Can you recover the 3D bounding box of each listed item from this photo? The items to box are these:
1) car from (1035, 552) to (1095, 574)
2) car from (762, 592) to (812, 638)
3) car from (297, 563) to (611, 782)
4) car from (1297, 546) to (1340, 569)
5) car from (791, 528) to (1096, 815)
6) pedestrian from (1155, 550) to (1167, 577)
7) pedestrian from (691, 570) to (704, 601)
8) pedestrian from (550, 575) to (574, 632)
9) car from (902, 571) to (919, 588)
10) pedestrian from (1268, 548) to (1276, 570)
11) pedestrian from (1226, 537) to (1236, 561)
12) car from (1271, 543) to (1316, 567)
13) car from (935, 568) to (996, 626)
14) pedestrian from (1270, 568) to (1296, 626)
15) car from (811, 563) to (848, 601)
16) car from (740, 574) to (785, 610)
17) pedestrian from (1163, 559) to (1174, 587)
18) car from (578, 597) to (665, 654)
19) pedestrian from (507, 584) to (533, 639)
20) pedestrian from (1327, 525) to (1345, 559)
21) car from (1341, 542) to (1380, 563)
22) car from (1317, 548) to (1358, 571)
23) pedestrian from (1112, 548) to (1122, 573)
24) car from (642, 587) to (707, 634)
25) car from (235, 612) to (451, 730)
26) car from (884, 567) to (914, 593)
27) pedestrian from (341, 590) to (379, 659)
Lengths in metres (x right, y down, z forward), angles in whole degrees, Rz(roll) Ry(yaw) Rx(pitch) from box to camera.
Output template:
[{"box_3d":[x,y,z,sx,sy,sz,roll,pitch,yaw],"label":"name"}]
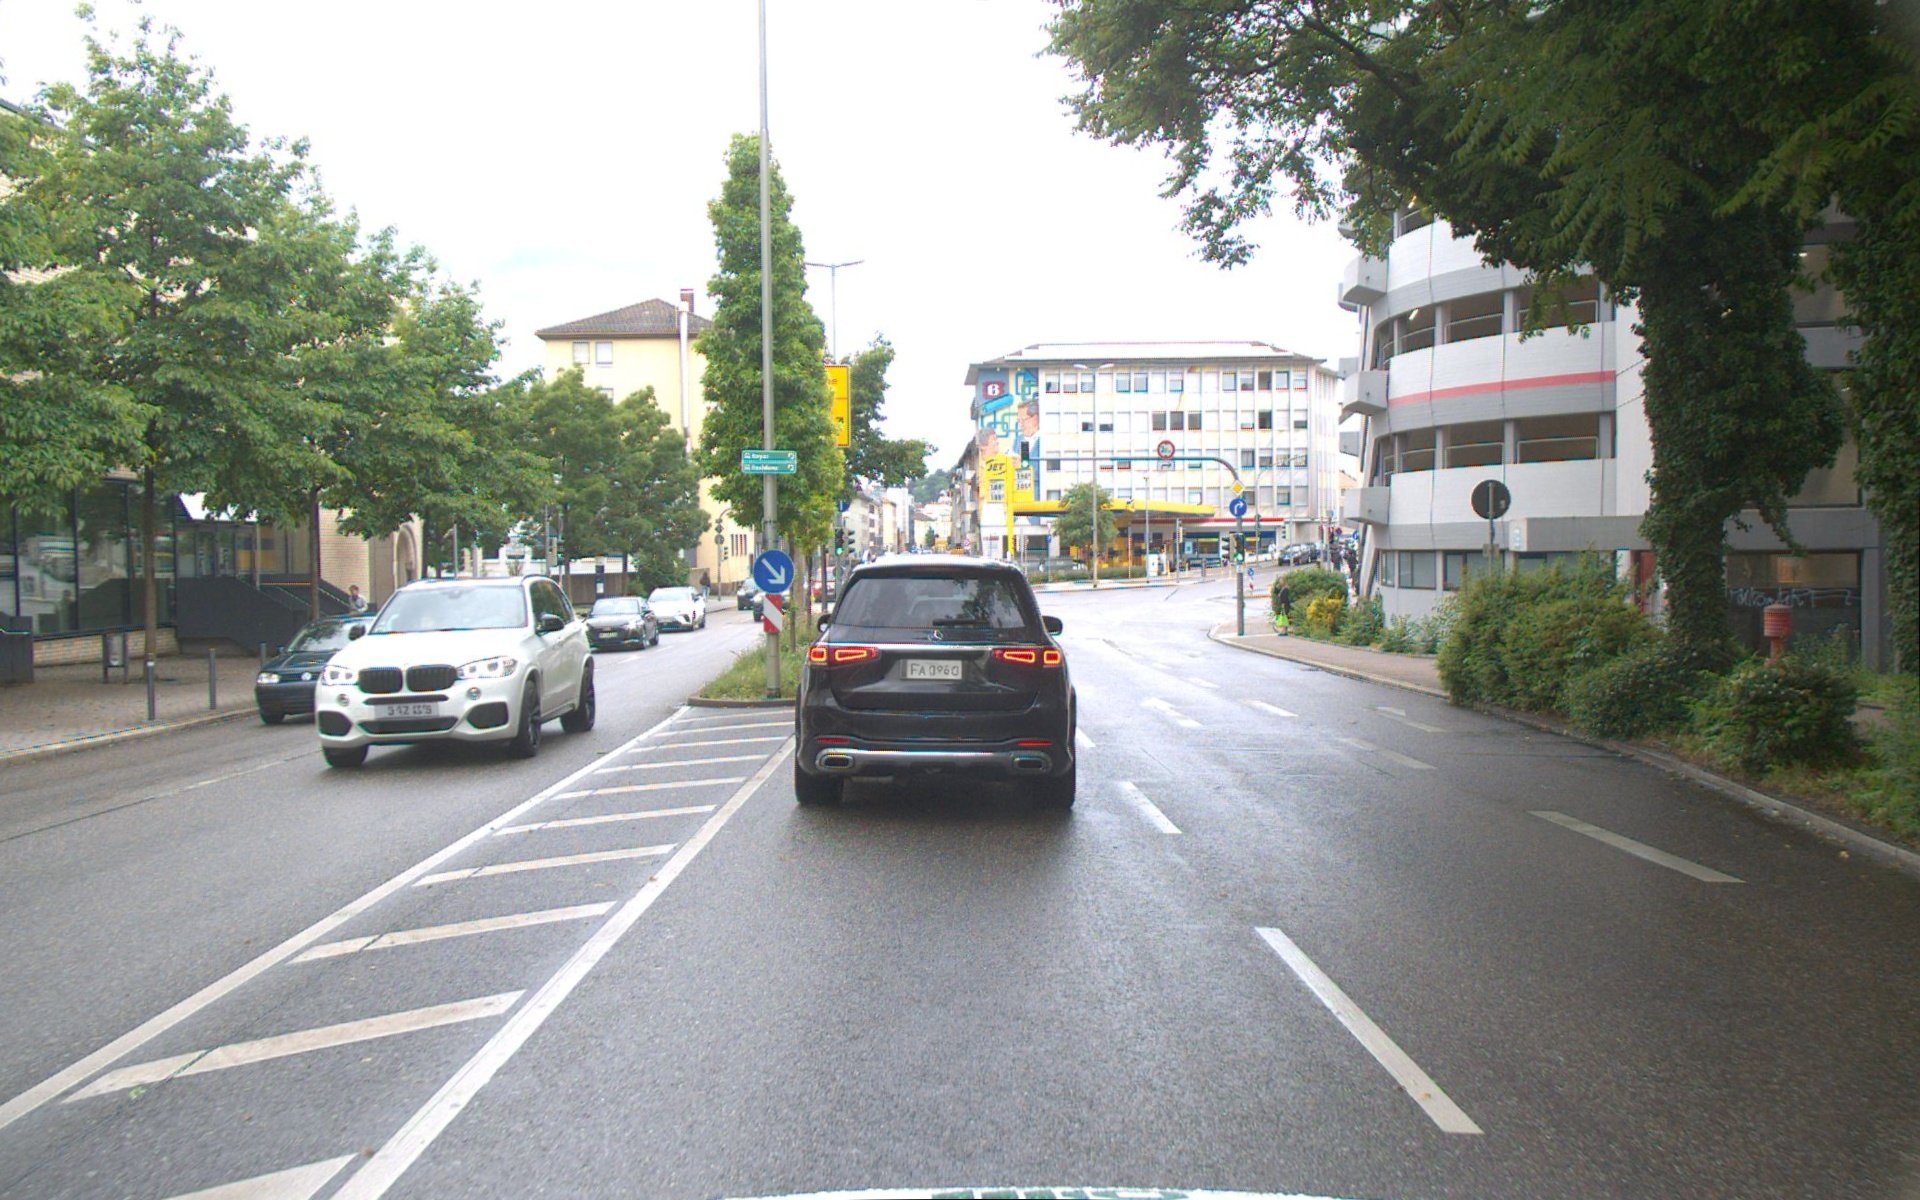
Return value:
[{"box_3d":[7.176,-2.524,113.450,1.724,1.400,3.935,-2,1,-44],"label":"car"},{"box_3d":[-6.807,0.583,65.504,1.698,1.654,4.229,-3,1,-3],"label":"car"},{"box_3d":[-4.967,0.630,16.954,1.853,1.843,4.573,-3,0,-2],"label":"car"},{"box_3d":[27.754,-3.298,128.059,1.958,1.735,3.990,-1,1,33],"label":"car"},{"box_3d":[-0.132,0.479,12.778,1.953,1.832,3.999,1,0,-1],"label":"car"},{"box_3d":[13.148,-2.361,108.148,0.515,1.757,0.688,0,1,26],"label":"pedestrian"},{"box_3d":[-15.194,-0.834,95.619,0.635,1.757,0.628,-1,1,-5],"label":"pedestrian"},{"box_3d":[-12.575,0.097,52.235,0.675,1.788,0.716,-1,1,-12],"label":"pedestrian"},{"box_3d":[-6.095,-2.555,205.924,1.953,2.049,4.000,1,0,0],"label":"car"},{"box_3d":[23.793,-3.097,126.113,0.474,1.669,0.438,1,-1,28],"label":"pedestrian"},{"box_3d":[19.927,-3.772,121.741,0.515,1.757,0.688,0,1,26],"label":"pedestrian"},{"box_3d":[24.951,-3.380,123.751,1.958,1.735,3.990,-1,1,33],"label":"car"},{"box_3d":[0.146,-0.077,55.314,1.953,1.832,3.999,1,0,-1],"label":"car"},{"box_3d":[9.839,-0.099,50.321,0.634,1.740,0.470,0,-1,35],"label":"pedestrian"},{"box_3d":[-7.062,-0.976,89.879,1.757,1.886,4.790,-3,1,-3],"label":"car"},{"box_3d":[-9.853,-0.407,82.803,1.850,1.614,4.535,-3,1,-2],"label":"car"},{"box_3d":[13.289,-1.710,105.325,0.560,1.727,0.631,1,-1,0],"label":"pedestrian"},{"box_3d":[-9.383,0.675,46.120,1.698,1.418,4.197,-3,0,-3],"label":"car"},{"box_3d":[-13.856,0.355,52.076,0.679,1.685,0.609,-2,1,-22],"label":"pedestrian"},{"box_3d":[23.981,-3.711,105.564,0.838,2.165,0.947,-1,1,-7],"label":"pedestrian"},{"box_3d":[33.272,-3.963,137.457,1.958,1.735,3.990,-1,1,33],"label":"car"},{"box_3d":[30.243,-3.222,132.311,1.958,1.735,3.990,-1,1,33],"label":"car"},{"box_3d":[11.534,-2.895,121.373,0.516,1.757,0.688,0,1,29],"label":"pedestrian"},{"box_3d":[-9.959,0.327,57.968,1.698,1.494,4.229,-3,1,-3],"label":"car"},{"box_3d":[-8.771,0.952,23.873,1.710,1.437,3.969,-3,0,-3],"label":"car"},{"box_3d":[-4.095,-1.301,111.001,1.953,1.642,4.188,1,0,-2],"label":"car"},{"box_3d":[-14.970,0.597,41.273,0.630,1.695,1.017,1,-1,-7],"label":"pedestrian"}]
